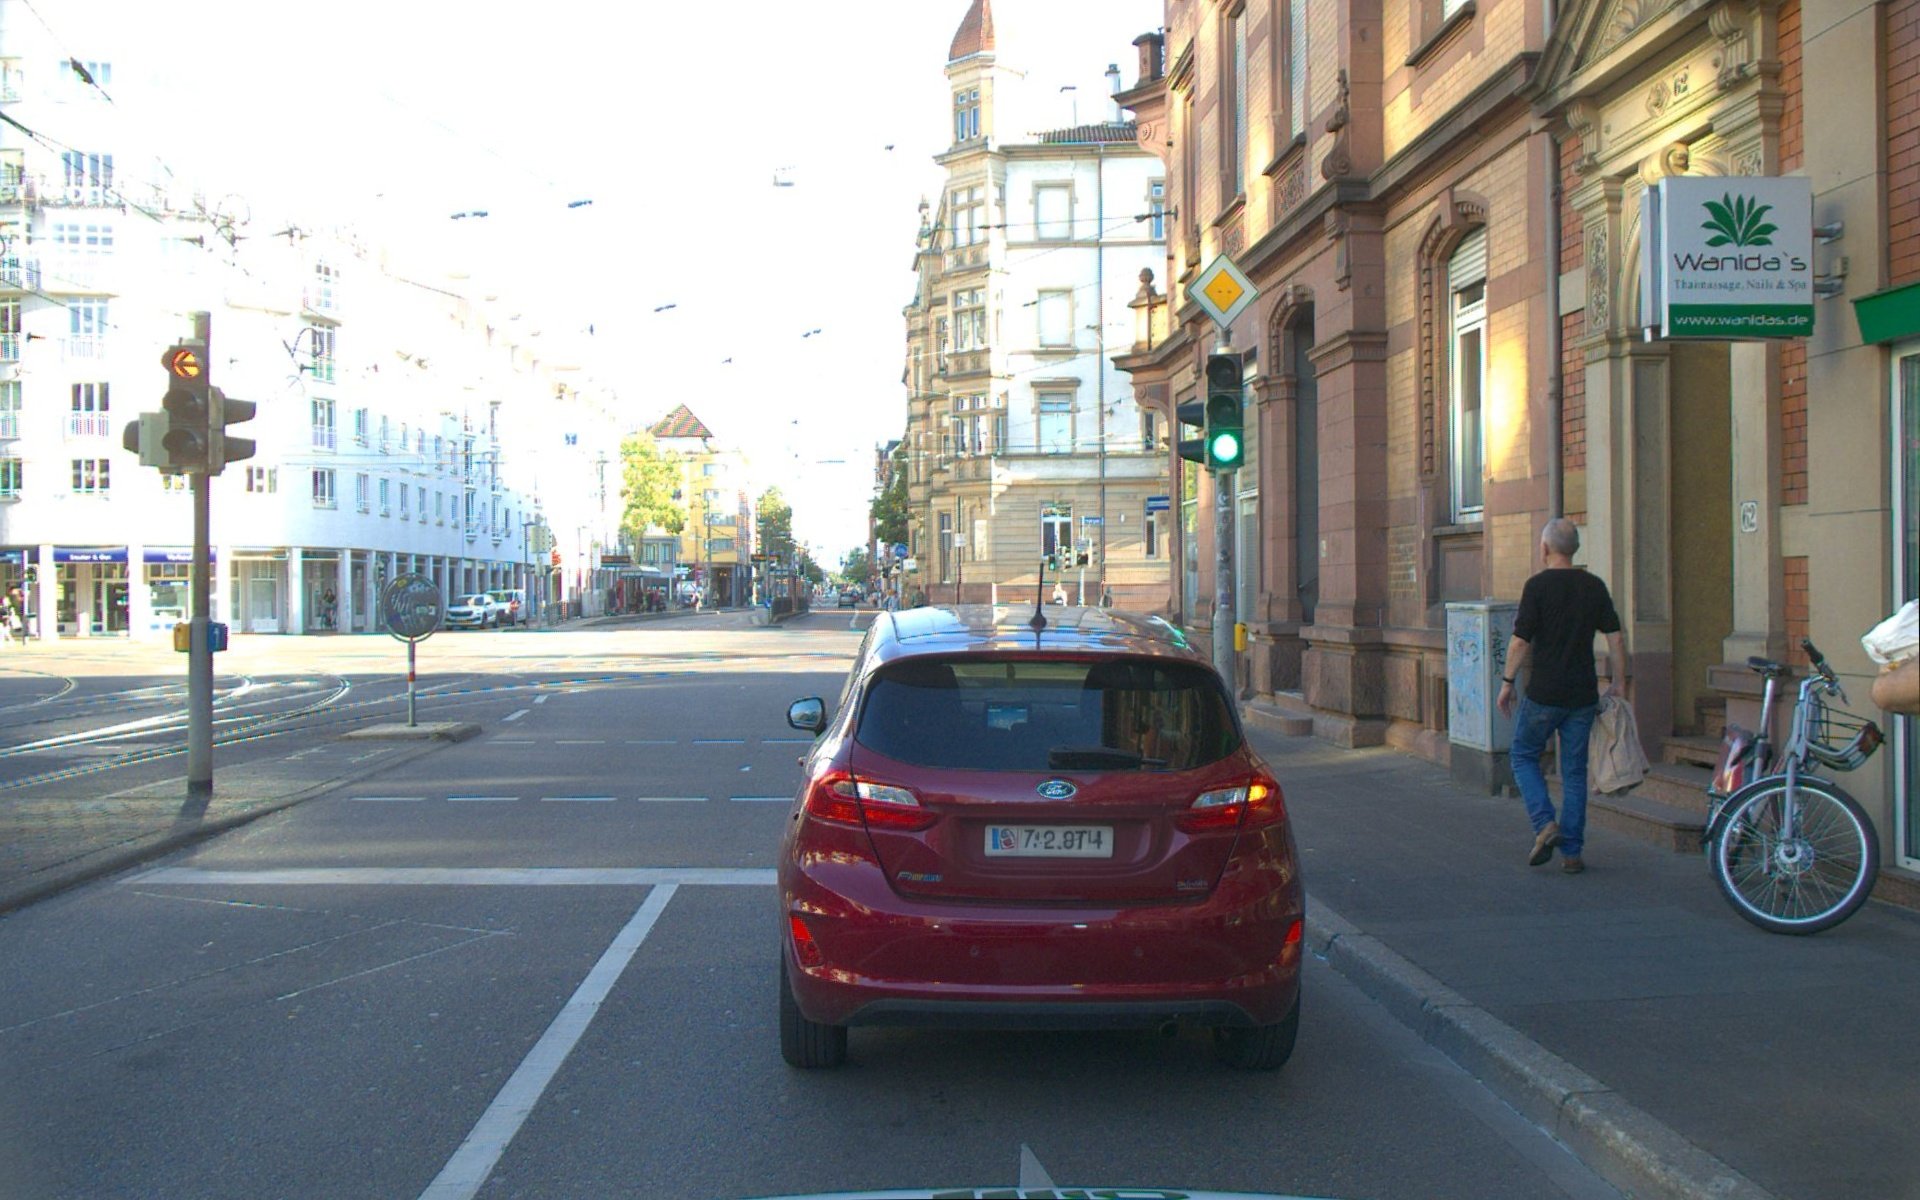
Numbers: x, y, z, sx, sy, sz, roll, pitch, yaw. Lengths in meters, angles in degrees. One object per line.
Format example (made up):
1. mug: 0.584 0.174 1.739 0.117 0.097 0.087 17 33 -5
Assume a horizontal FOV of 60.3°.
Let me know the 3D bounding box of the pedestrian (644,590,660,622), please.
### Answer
1. pedestrian: -19.016 0.380 102.116 0.914 1.938 0.880 0 0 -7

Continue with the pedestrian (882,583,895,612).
1. pedestrian: -4.597 -0.145 105.933 0.700 1.805 0.772 -3 1 -7

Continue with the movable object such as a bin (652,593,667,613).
1. movable object such as a bin: -19.762 0.217 108.728 0.919 1.309 0.933 0 0 -6

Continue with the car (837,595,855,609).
1. car: -12.311 0.235 179.108 1.954 1.475 3.997 0 0 -4

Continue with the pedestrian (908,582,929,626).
1. pedestrian: -1.801 0.167 71.970 0.785 1.855 0.797 -2 1 -4

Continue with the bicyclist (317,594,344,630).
1. bicyclist: -27.083 0.508 71.217 0.824 1.493 0.896 -1 0 -2

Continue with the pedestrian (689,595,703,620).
1. pedestrian: -20.533 0.549 128.675 0.865 1.938 0.929 0 0 -20

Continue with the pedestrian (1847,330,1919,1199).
1. pedestrian: 2.299 0.426 3.089 0.805 1.927 0.754 -2 0 -4

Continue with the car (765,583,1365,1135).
1. car: 0.239 0.720 6.410 1.658 1.521 3.578 1 0 -2

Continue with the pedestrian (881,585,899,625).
1. pedestrian: -3.156 0.218 74.598 0.703 1.751 0.795 -2 -1 -6

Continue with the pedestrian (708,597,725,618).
1. pedestrian: -23.739 0.731 161.099 1.324 1.938 1.465 0 0 -20

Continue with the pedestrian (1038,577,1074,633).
1. pedestrian: 3.227 0.155 55.495 1.003 1.838 1.081 -1 0 -7

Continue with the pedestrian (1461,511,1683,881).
1. pedestrian: 3.058 0.457 8.330 0.760 1.753 0.754 -2 0 -4

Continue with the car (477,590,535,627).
1. car: -23.992 0.428 87.638 1.954 1.869 5.342 -1 0 -4

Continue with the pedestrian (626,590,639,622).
1. pedestrian: -19.814 0.351 99.994 0.682 1.938 0.671 0 0 -7

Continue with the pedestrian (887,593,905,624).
1. pedestrian: -2.855 0.395 73.647 0.703 1.355 0.795 -2 -1 -6

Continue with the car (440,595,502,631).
1. car: -23.543 0.600 79.769 1.954 1.648 4.506 -1 0 -4

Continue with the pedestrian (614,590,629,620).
1. pedestrian: -19.662 0.302 96.163 0.687 1.721 0.666 0 -1 -28

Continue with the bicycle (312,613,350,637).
1. bicycle: -27.084 1.062 71.204 0.824 0.943 2.264 -1 0 -2

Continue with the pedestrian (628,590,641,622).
1. pedestrian: -19.789 0.356 100.586 0.682 1.938 0.671 0 0 -7

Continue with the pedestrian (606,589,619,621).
1. pedestrian: -18.931 0.252 90.030 0.587 1.721 0.613 0 0 -4

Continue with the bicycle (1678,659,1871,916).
1. bicycle: 3.672 0.806 7.533 0.337 1.013 1.241 -2 0 5

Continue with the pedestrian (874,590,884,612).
1. pedestrian: -6.796 0.062 139.436 0.700 1.805 0.772 -3 1 -7

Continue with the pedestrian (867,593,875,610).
1. pedestrian: -9.341 0.166 173.186 0.735 1.690 0.650 1 -1 -1

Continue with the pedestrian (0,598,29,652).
1. pedestrian: -31.293 0.824 54.427 0.850 1.711 0.697 -1 2 4
